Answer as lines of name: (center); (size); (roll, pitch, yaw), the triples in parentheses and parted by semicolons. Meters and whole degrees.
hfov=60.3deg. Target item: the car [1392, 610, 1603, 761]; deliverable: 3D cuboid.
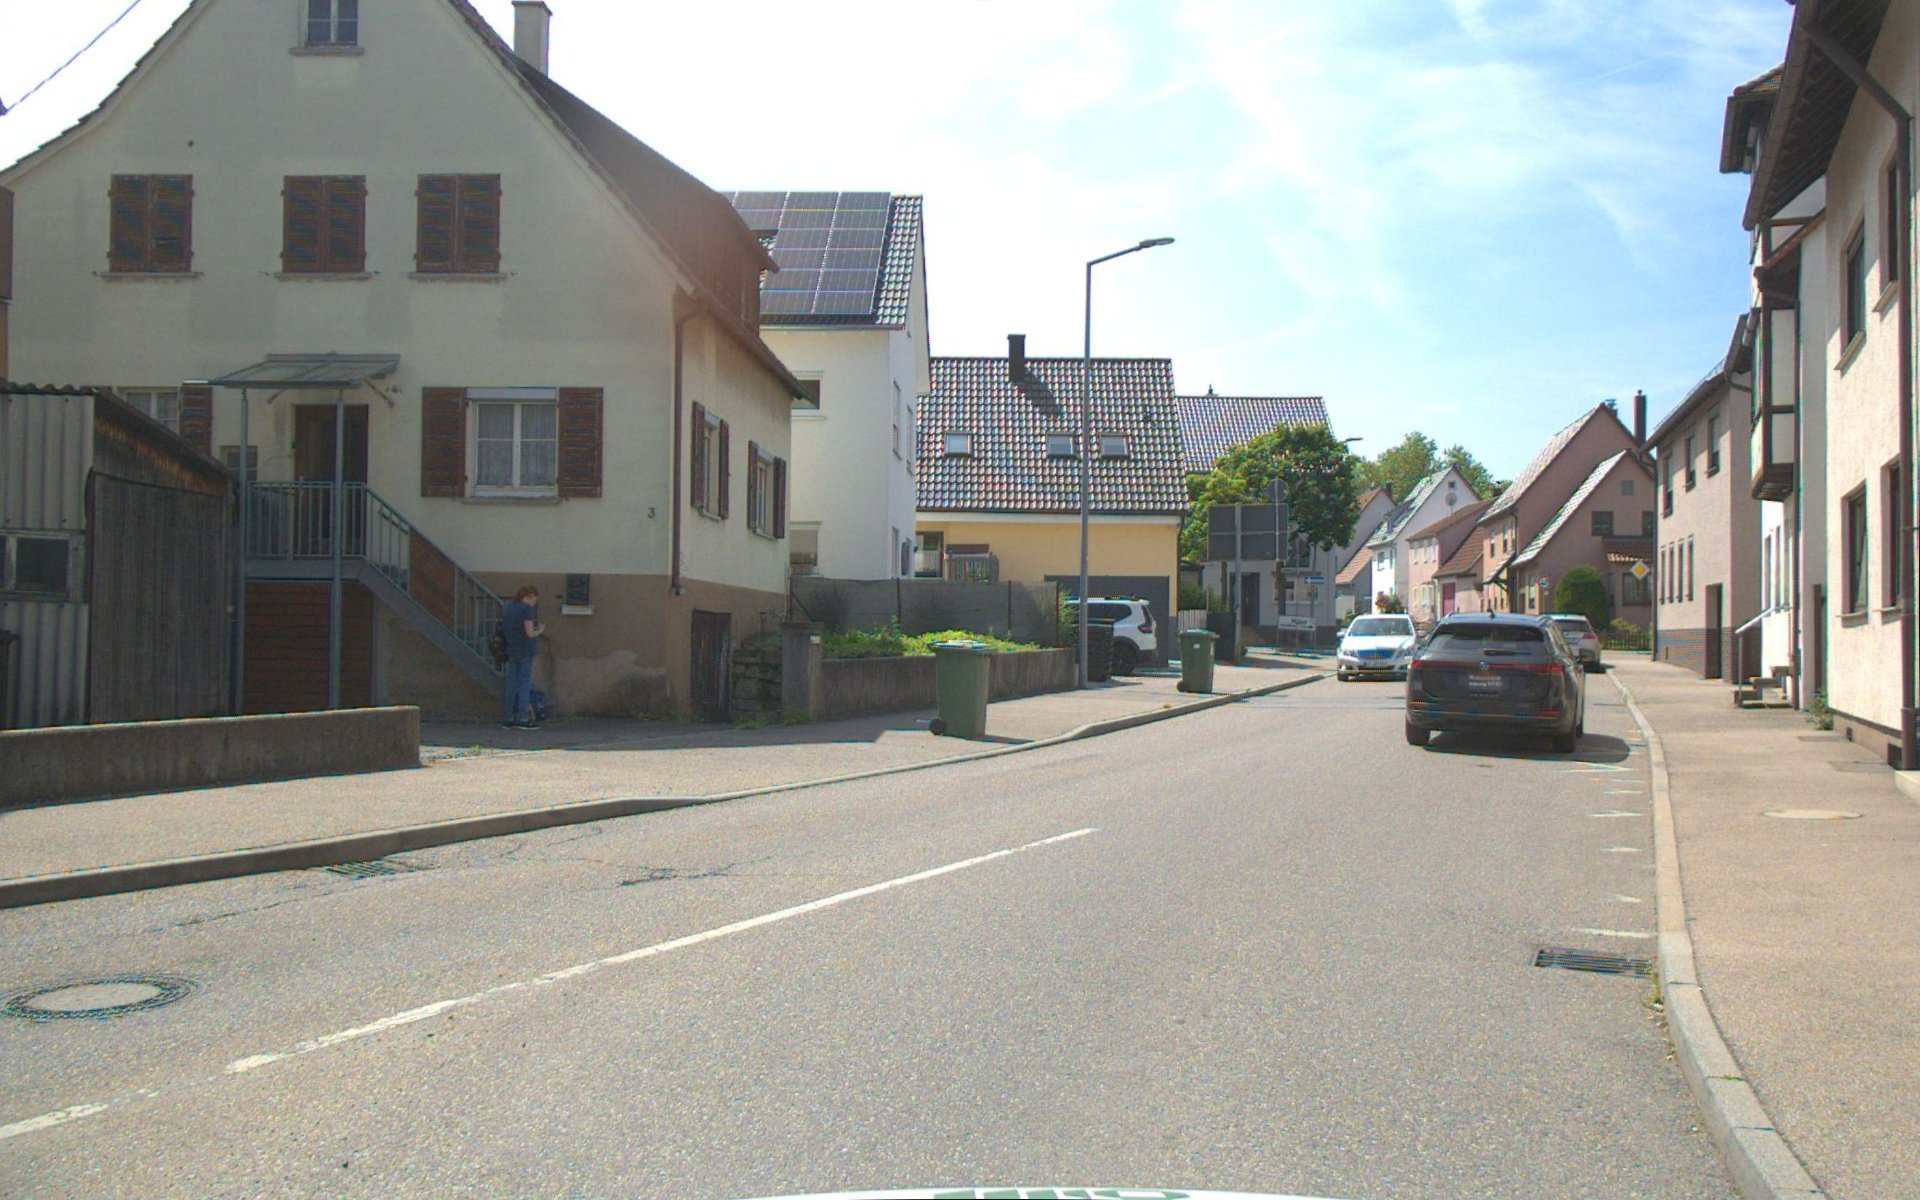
car: (6.224, 0.873, 18.792); (1.804, 1.445, 4.680); (1, 0, 24)

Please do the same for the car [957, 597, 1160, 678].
car: (2.219, 0.810, 36.536); (4.307, 1.651, 2.001); (1, -1, 8)

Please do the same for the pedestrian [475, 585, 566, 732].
pedestrian: (-4.941, 0.648, 18.613); (0.760, 1.601, 0.628); (1, 0, 12)

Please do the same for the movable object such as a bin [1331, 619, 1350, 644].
movable object such as a bin: (16.924, 1.389, 73.521); (0.737, 1.079, 0.680); (1, 0, 8)

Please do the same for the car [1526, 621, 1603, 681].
car: (16.423, 1.348, 45.084); (1.748, 1.467, 4.339); (1, 0, 18)

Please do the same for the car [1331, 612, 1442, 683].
car: (9.853, 1.061, 37.960); (1.915, 1.512, 4.458); (-1, -1, 21)

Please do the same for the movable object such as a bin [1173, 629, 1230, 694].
movable object such as a bin: (4.259, 1.072, 29.167); (0.809, 1.096, 0.818); (1, 0, 21)

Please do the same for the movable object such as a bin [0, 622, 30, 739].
movable object such as a bin: (-9.059, 0.729, 15.255); (0.616, 1.052, 0.612); (1, -1, -5)

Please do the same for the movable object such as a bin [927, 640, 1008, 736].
movable object such as a bin: (0.095, 1.010, 19.211); (0.774, 1.076, 0.651); (0, -1, 17)
